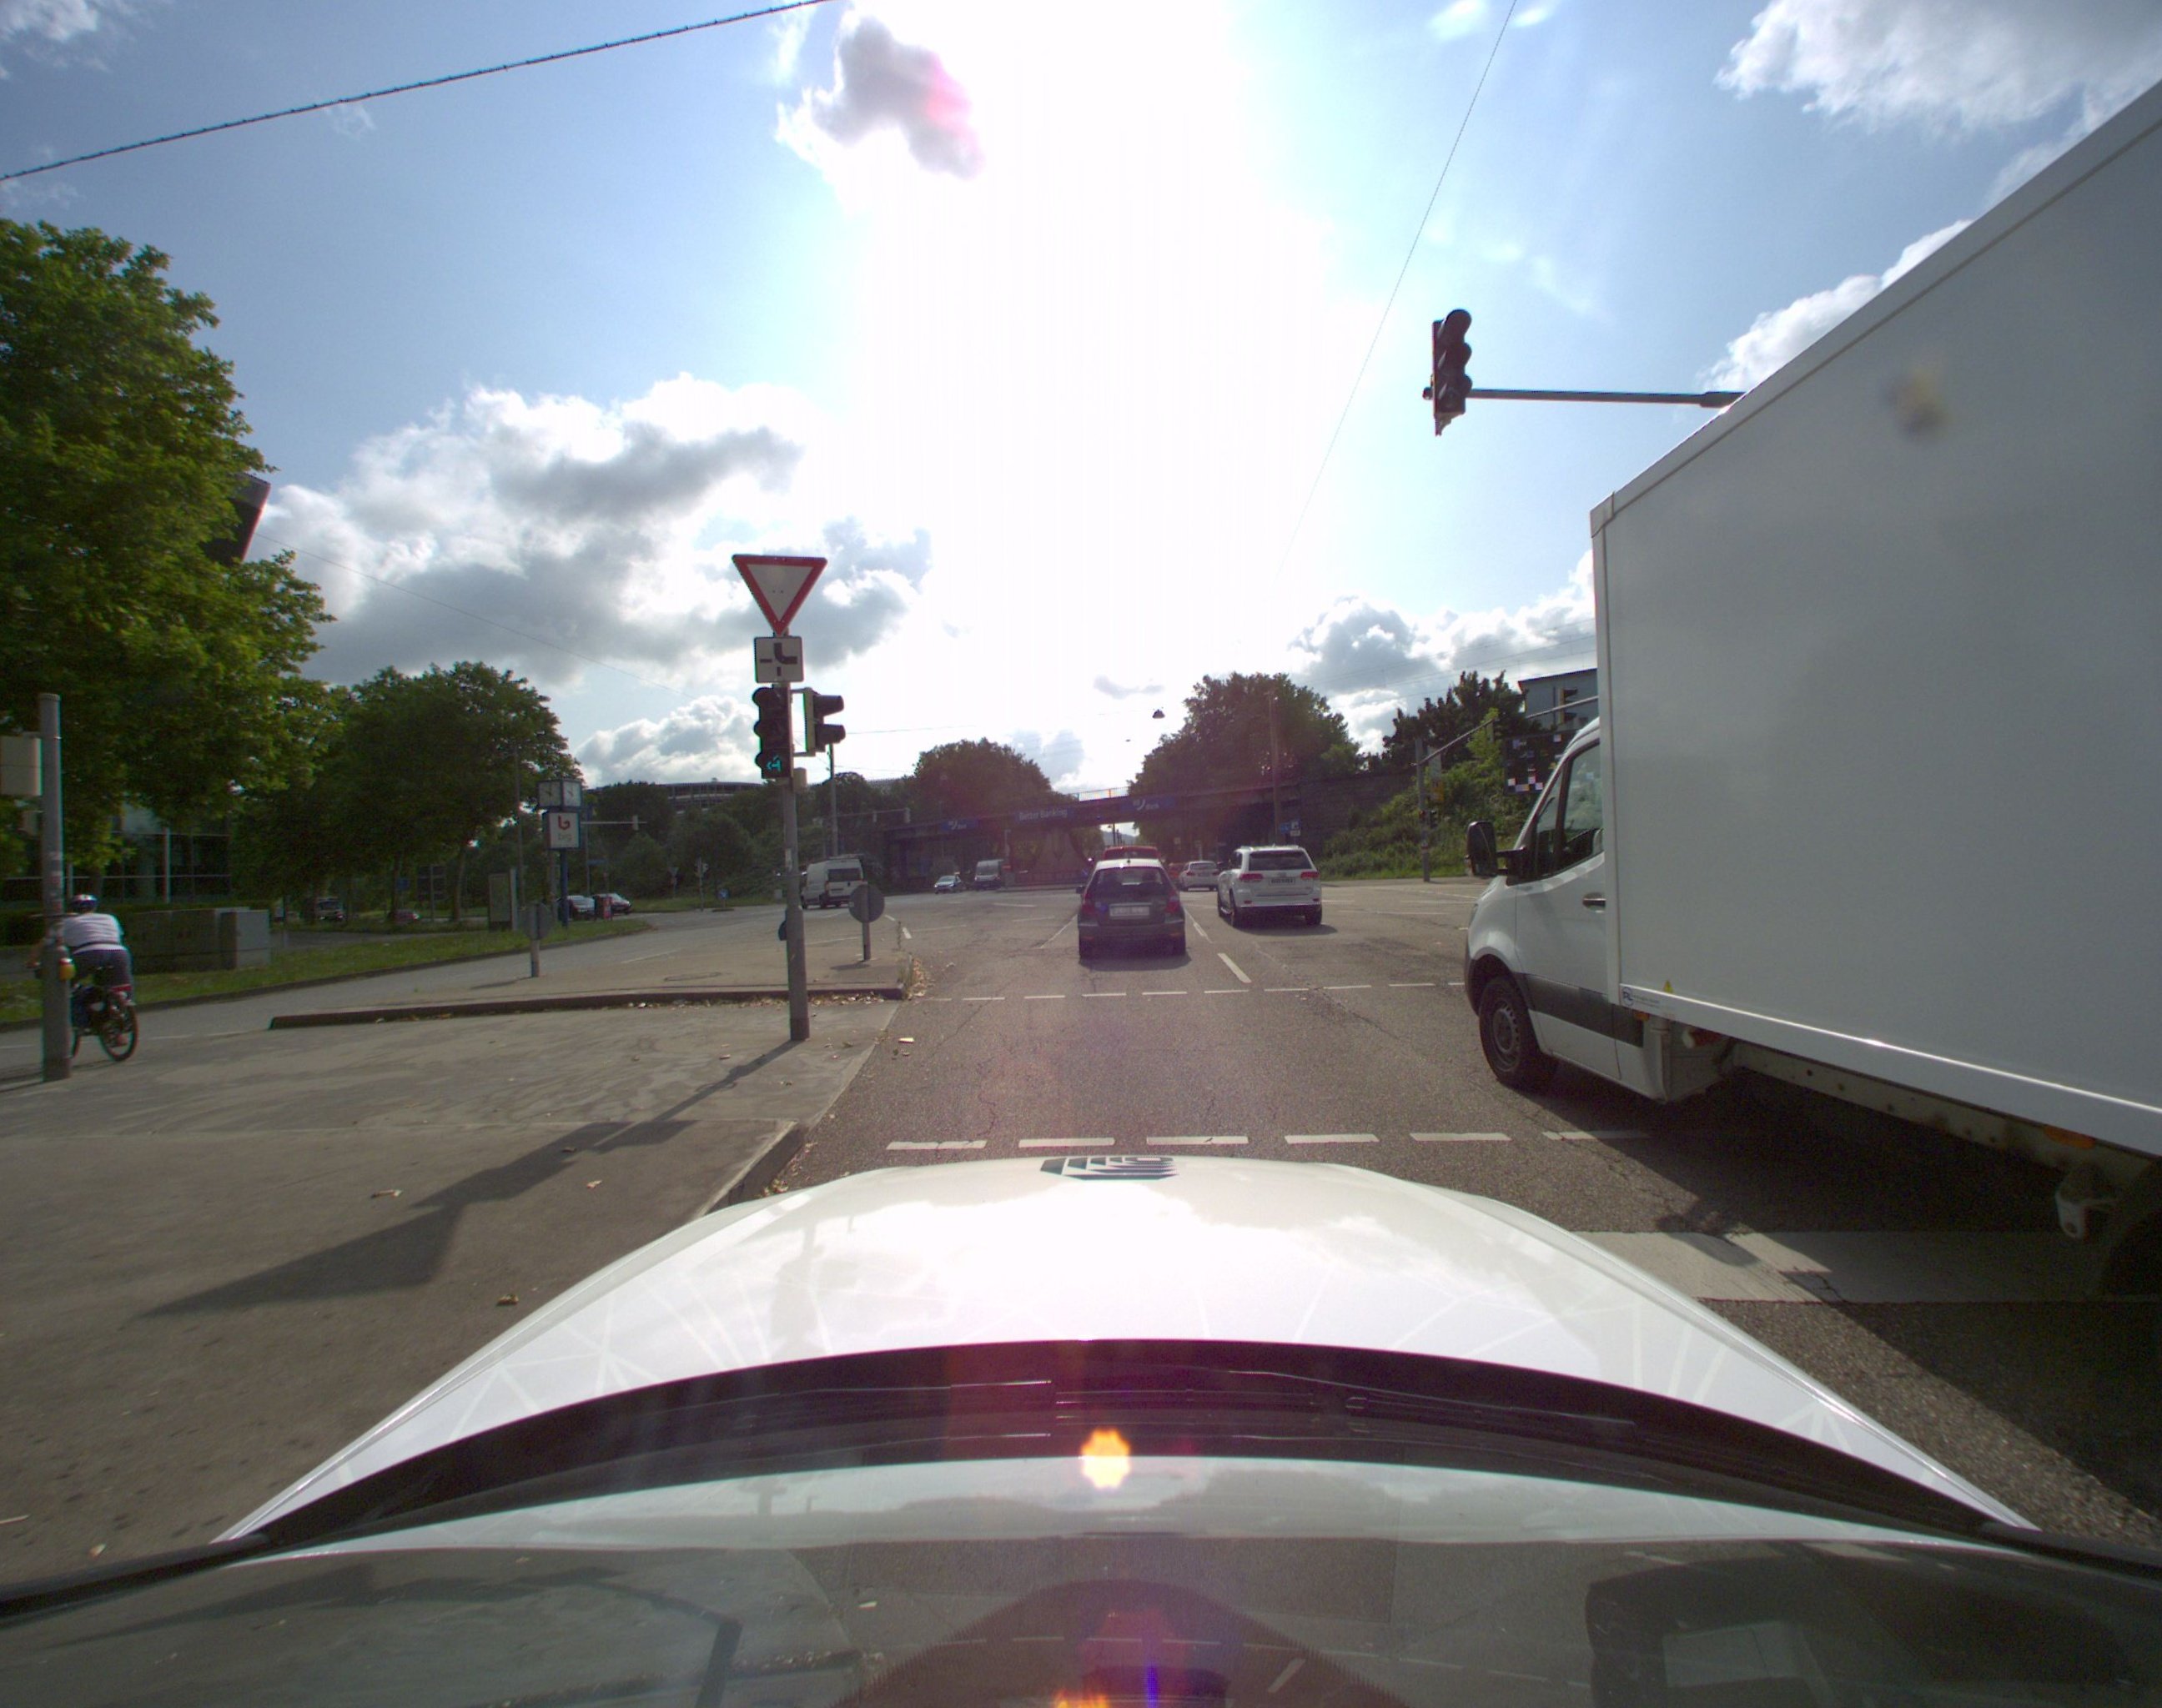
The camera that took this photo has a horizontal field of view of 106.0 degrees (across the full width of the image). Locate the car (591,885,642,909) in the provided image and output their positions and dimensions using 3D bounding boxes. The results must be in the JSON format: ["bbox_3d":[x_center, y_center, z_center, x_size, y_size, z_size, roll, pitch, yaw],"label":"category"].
[{"bbox_3d":[-33.014,3.059,57.826,4.305,1.587,1.724,-4,-3,40],"label":"car"}]

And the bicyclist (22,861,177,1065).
[{"bbox_3d":[-10.342,1.114,8.606,0.727,2.013,0.603,-4,1,-3],"label":"bicyclist"}]

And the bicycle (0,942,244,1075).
[{"bbox_3d":[-10.325,1.596,8.457,2.170,1.086,0.885,-5,0,-4],"label":"bicycle"}]

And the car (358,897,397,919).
[{"bbox_3d":[-59.882,4.591,69.324,3.949,1.572,1.745,2,-1,39],"label":"car"}]

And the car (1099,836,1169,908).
[{"bbox_3d":[1.681,0.495,25.552,1.947,2.016,4.682,-1,0,4],"label":"car"}]

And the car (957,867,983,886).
[{"bbox_3d":[-10.616,2.105,78.114,1.759,1.583,4.662,-4,0,0],"label":"car"}]

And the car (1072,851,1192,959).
[{"bbox_3d":[0.922,0.808,14.532,1.784,1.608,3.803,-2,0,4],"label":"car"}]

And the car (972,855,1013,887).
[{"bbox_3d":[-7.415,1.423,68.904,2.247,2.526,5.634,-2,0,5],"label":"car"}]

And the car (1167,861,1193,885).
[{"bbox_3d":[6.557,1.241,54.358,1.537,1.521,3.620,-1,-1,4],"label":"car"}]

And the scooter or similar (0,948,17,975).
[{"bbox_3d":[-29.469,2.938,21.808,0.239,0.713,1.233,-1,0,8],"label":"scooter or similar"}]

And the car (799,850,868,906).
[{"bbox_3d":[-13.245,1.326,43.402,2.213,2.726,4.880,-2,-1,-32],"label":"car"}]

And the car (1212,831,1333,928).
[{"bbox_3d":[4.283,0.513,18.961,1.986,1.901,4.514,-3,0,4],"label":"car"}]

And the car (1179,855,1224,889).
[{"bbox_3d":[5.718,0.855,38.982,1.844,1.521,3.620,-1,-1,4],"label":"car"}]

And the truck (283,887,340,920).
[{"bbox_3d":[-100.593,6.393,106.422,10.030,3.887,2.675,0,0,30],"label":"truck"}]

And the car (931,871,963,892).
[{"bbox_3d":[-10.897,2.209,66.407,1.695,1.476,4.003,-5,-1,3],"label":"car"}]

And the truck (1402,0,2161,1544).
[{"bbox_3d":[3.460,-0.163,2.912,2.437,3.121,6.031,-1,0,2],"label":"truck"}]

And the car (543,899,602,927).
[{"bbox_3d":[-32.316,3.729,51.709,4.509,1.574,1.883,-3,-1,40],"label":"car"}]
